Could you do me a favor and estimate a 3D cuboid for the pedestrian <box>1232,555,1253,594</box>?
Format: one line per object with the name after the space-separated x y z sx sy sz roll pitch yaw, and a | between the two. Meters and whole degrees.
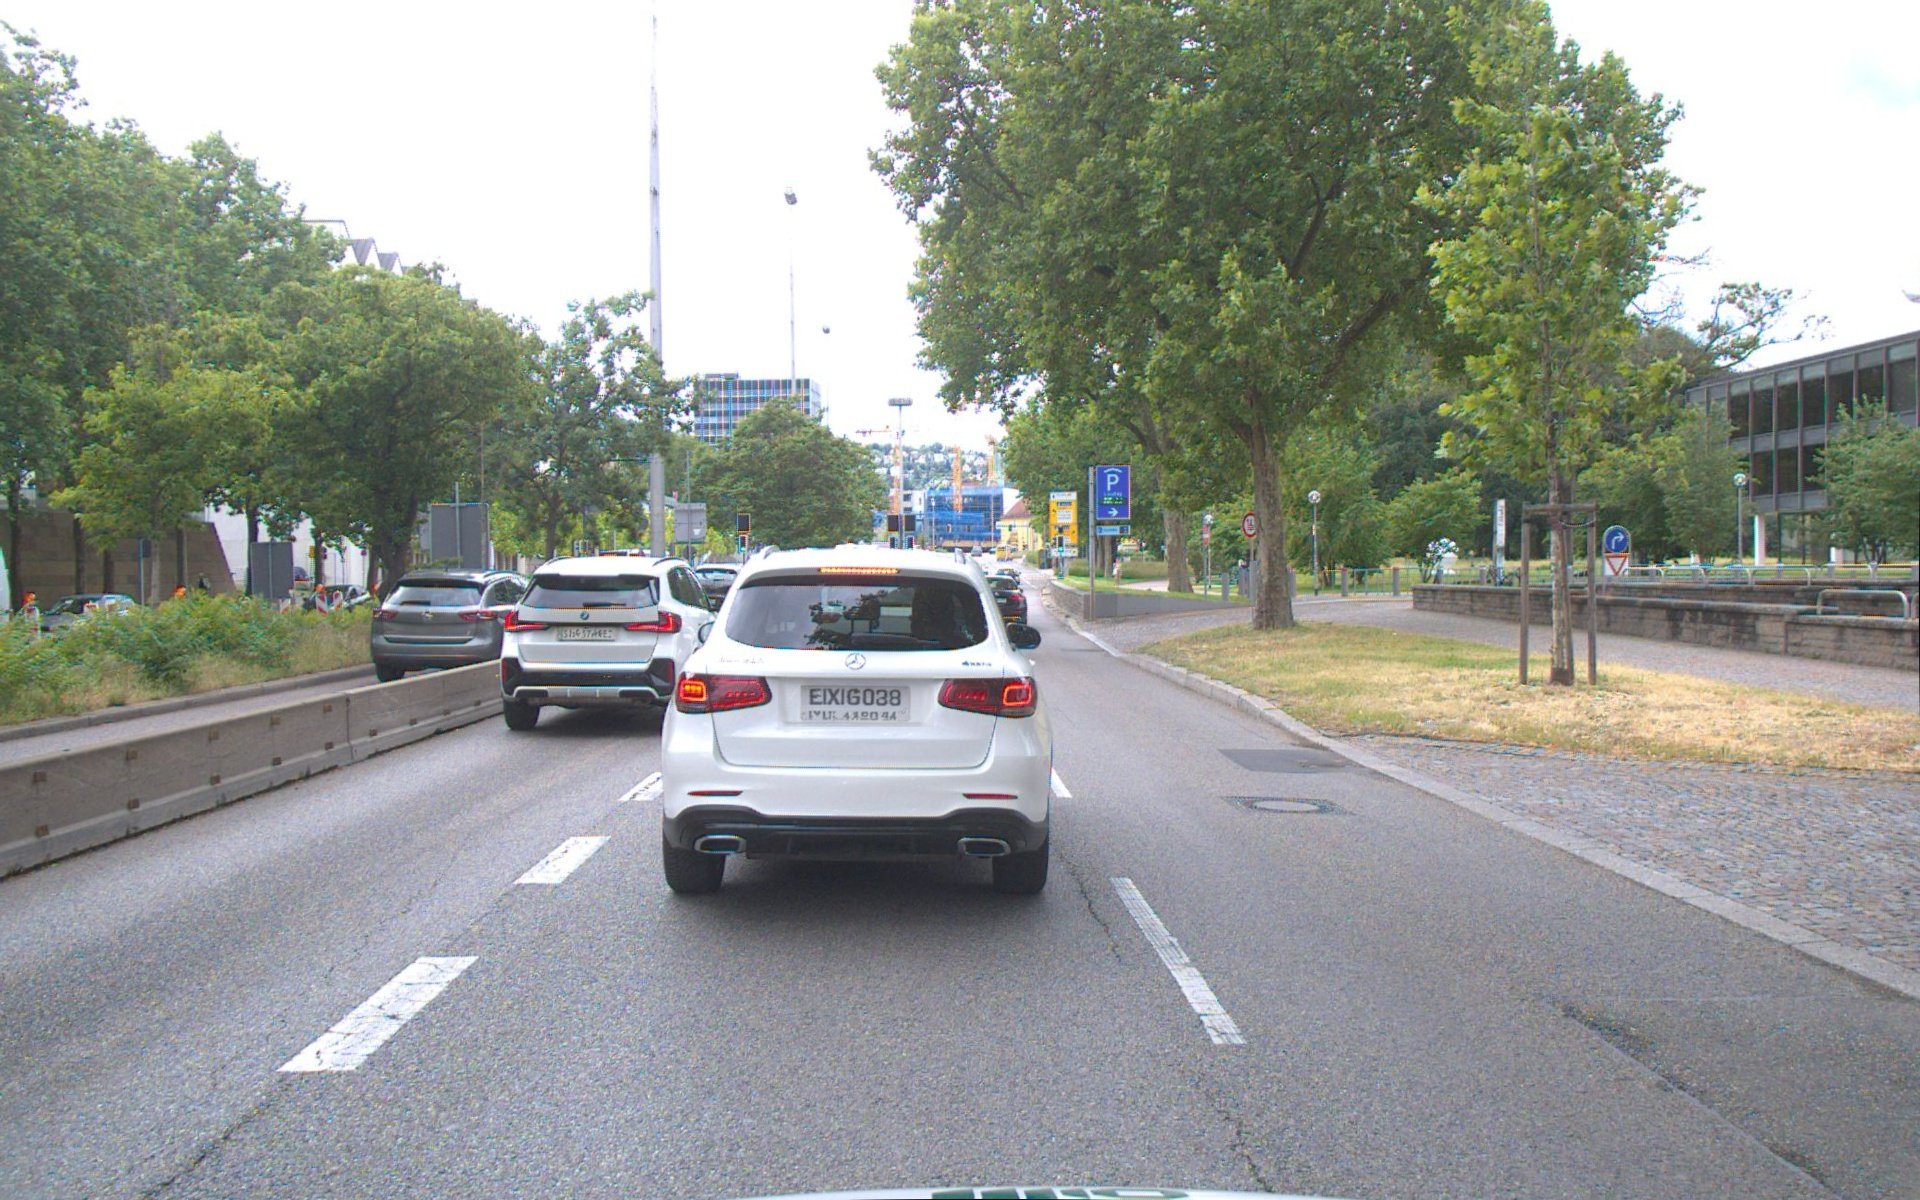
11.895 -1.062 69.577 0.629 1.639 0.659 0 1 42 | pedestrian

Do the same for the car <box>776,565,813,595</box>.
-8.743 -1.082 87.492 1.625 1.539 3.547 -1 1 0 | car

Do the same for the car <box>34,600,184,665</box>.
-21.779 0.799 42.505 1.811 1.483 3.999 -1 1 -1 | car

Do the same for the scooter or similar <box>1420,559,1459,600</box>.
15.375 -0.652 53.058 0.622 1.267 2.226 1 0 1 | scooter or similar

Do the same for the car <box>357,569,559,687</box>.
-6.696 0.335 22.487 1.628 1.461 3.959 0 0 -2 | car

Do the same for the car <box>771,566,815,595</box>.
-7.871 -0.907 78.144 1.625 1.342 3.548 0 1 2 | car

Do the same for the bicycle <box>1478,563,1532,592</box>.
19.603 -0.792 59.550 0.934 0.992 2.786 1 0 -2 | bicycle

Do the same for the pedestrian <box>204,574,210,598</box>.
-35.435 -0.667 77.846 0.211 1.097 0.258 1 0 -19 | pedestrian

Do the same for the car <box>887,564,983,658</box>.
-0.519 0.176 31.041 1.626 1.668 3.545 0 1 -4 | car

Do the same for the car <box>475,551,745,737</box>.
-3.451 0.374 17.253 1.813 1.656 4.906 0 0 -1 | car

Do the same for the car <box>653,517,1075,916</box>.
-0.439 0.493 9.176 1.752 1.653 4.436 1 0 -1 | car

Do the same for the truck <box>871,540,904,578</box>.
-6.090 -3.440 139.998 2.638 3.044 5.636 1 0 -2 | truck

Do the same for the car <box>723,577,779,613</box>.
-8.125 -0.218 64.589 1.625 1.342 3.548 0 1 2 | car

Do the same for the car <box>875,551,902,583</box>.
-5.710 -2.668 132.626 1.952 2.518 4.001 -1 1 0 | car

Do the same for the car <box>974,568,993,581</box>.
2.473 -2.715 173.562 1.907 1.342 4.017 0 1 0 | car

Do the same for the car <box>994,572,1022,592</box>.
3.540 -1.356 122.378 1.907 1.453 4.017 0 1 0 | car

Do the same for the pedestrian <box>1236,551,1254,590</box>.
12.858 -1.326 74.670 0.743 1.755 0.699 -1 1 7 | pedestrian

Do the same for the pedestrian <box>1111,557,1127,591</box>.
9.771 -1.586 101.579 0.746 2.049 0.696 0 1 35 | pedestrian

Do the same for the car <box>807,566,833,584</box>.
-10.373 -1.859 122.549 1.625 1.342 3.547 0 1 0 | car

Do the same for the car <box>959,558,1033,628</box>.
0.926 -0.213 44.849 1.788 1.783 3.999 -1 1 -2 | car

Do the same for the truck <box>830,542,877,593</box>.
-6.268 -1.933 98.361 2.568 2.911 7.076 1 1 -2 | truck

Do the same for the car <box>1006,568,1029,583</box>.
5.173 -2.226 149.410 1.907 1.342 4.017 0 1 0 | car

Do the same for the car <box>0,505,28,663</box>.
-13.114 -0.148 18.672 2.072 2.003 5.577 -1 1 -1 | car

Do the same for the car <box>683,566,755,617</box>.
-7.195 -0.290 49.671 1.740 1.445 3.998 -1 1 -3 | car

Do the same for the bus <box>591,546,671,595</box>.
-23.209 -2.099 117.463 3.595 3.261 14.265 -1 1 -3 | bus

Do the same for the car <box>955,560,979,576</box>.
0.586 -2.626 136.740 1.907 1.342 4.017 0 1 0 | car

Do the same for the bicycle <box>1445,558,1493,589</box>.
18.290 -0.954 59.524 0.934 1.082 2.335 1 0 -2 | bicycle

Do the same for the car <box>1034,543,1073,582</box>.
5.137 -2.053 91.429 1.953 2.049 4.000 0 1 0 | car

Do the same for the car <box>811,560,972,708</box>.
-0.924 0.350 20.208 1.761 1.636 3.750 0 1 -6 | car

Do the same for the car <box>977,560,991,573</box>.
3.027 -4.240 209.596 1.723 1.698 4.167 -1 1 -1 | car
